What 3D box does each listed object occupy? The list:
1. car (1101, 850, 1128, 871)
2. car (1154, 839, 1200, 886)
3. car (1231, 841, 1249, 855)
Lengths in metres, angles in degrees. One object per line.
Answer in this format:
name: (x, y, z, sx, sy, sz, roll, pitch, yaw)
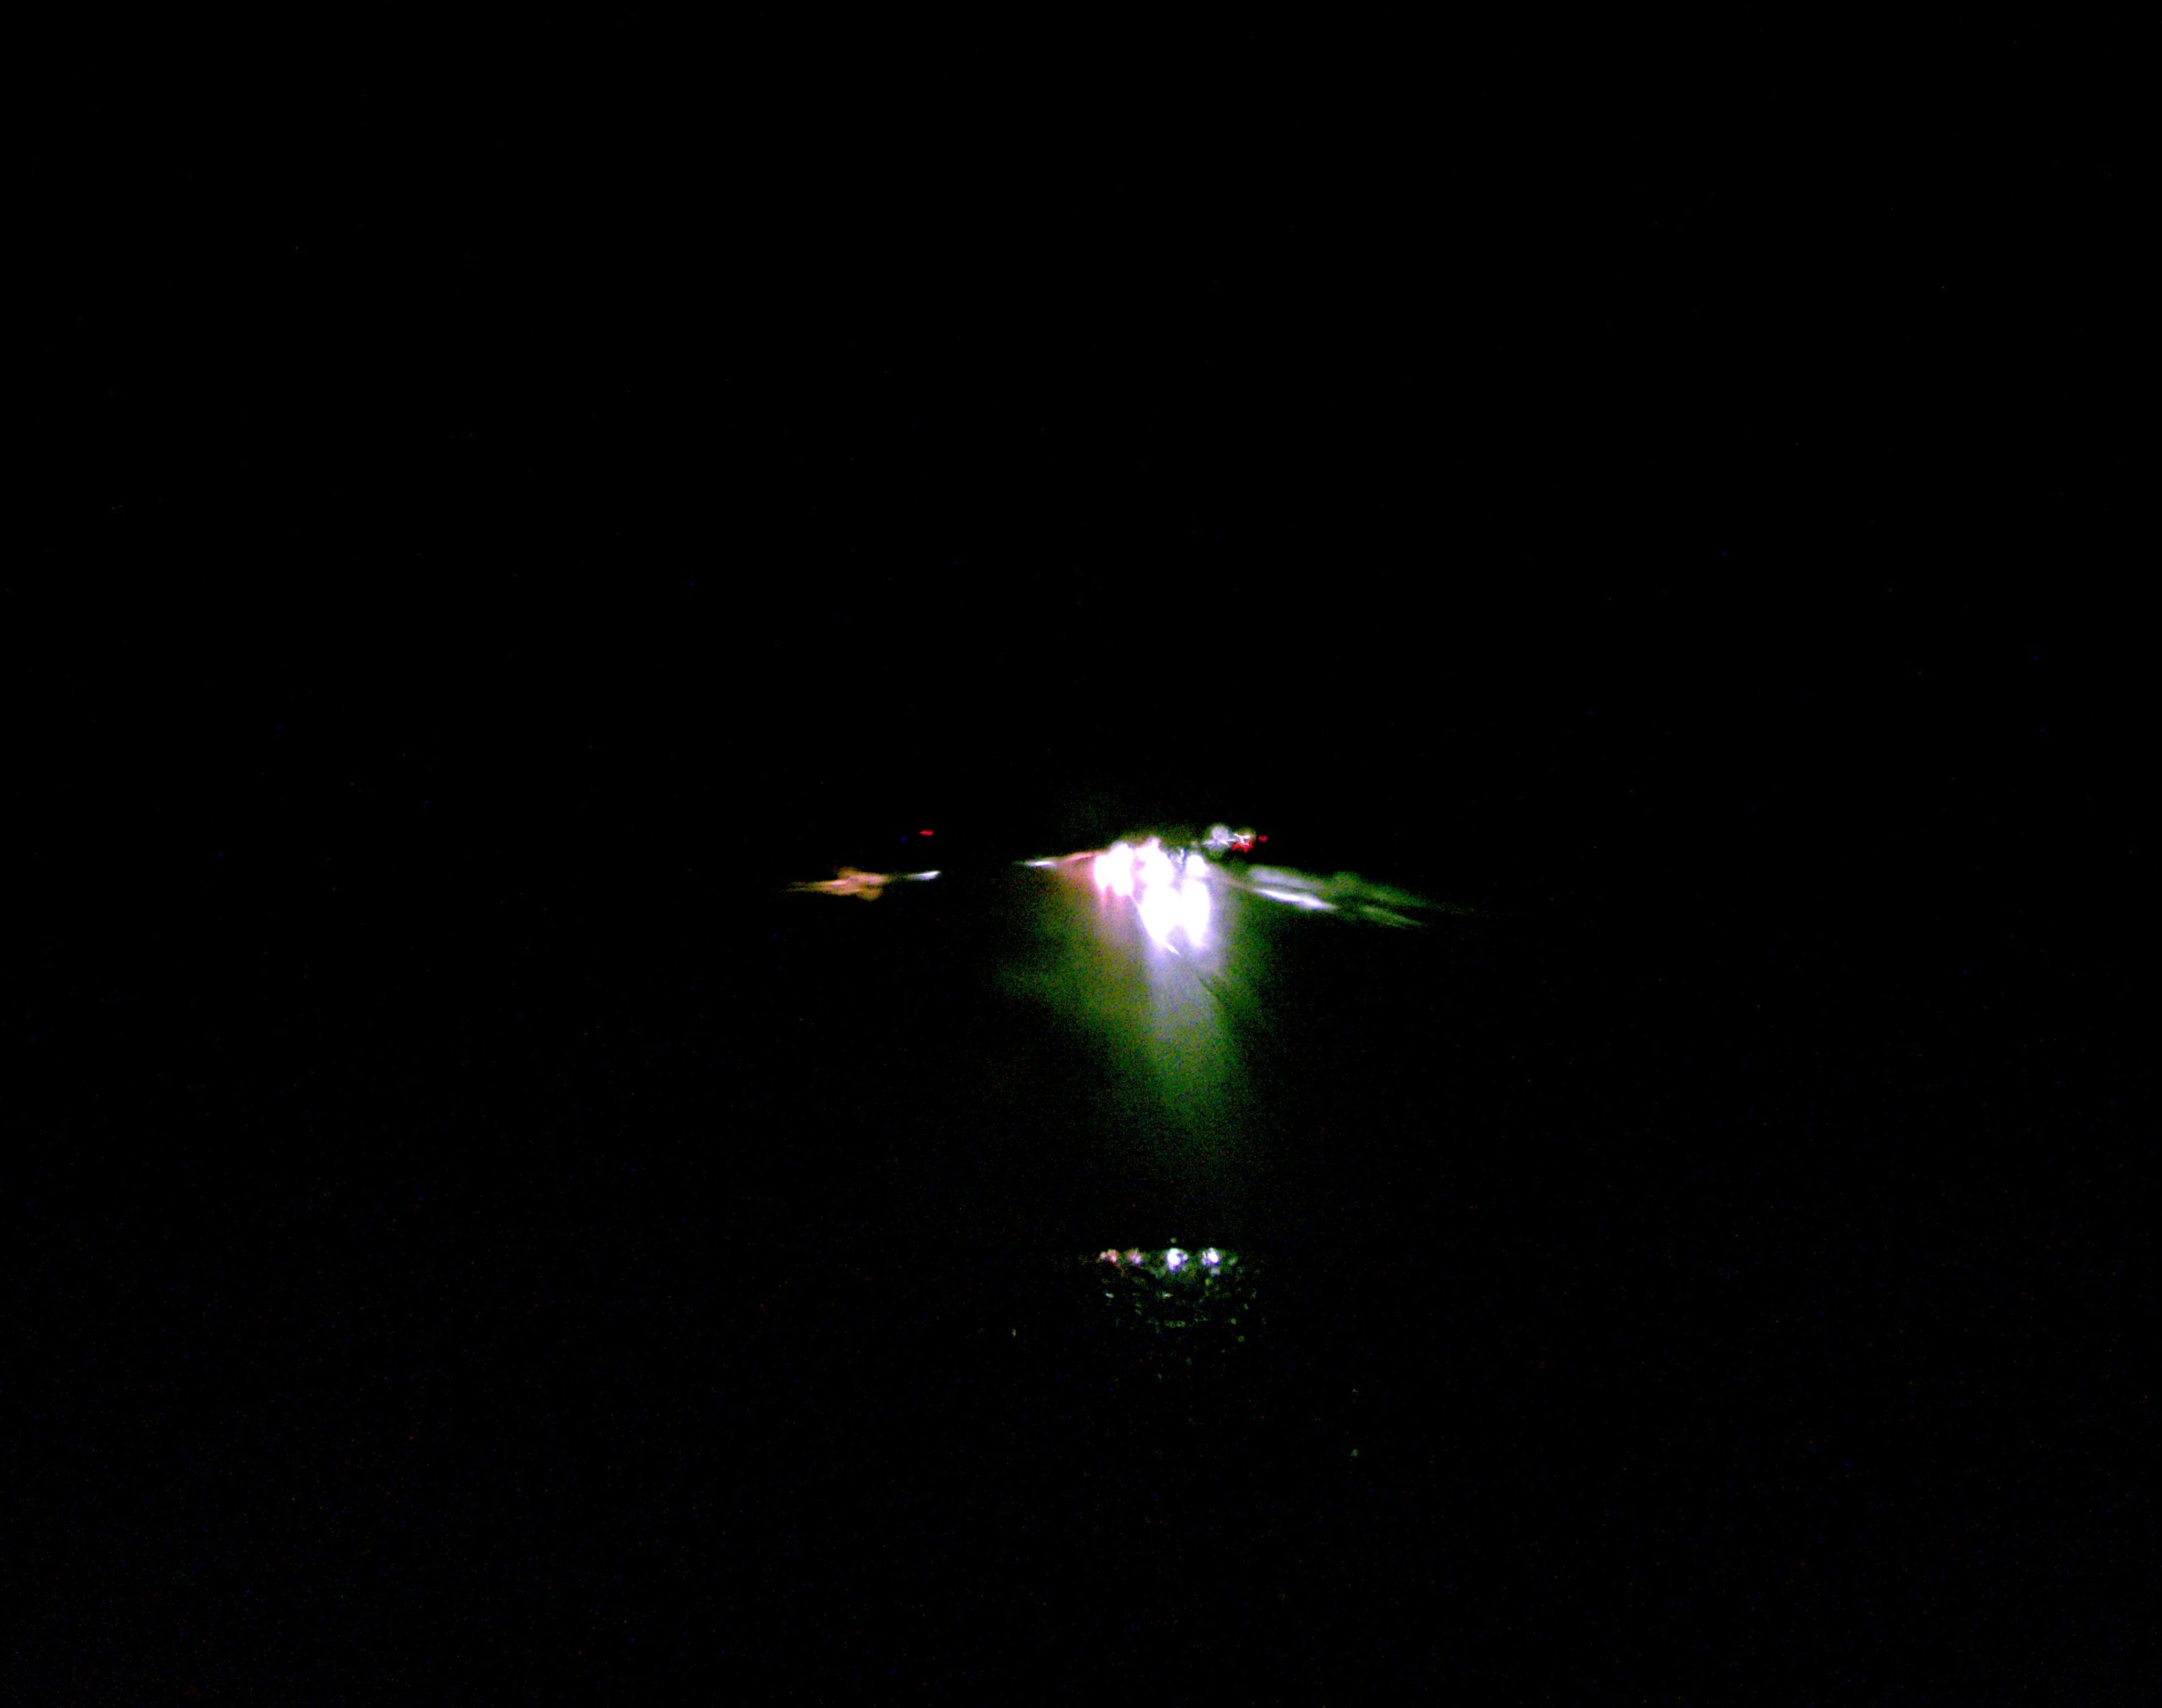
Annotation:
car: (2.867, 0.536, 63.961, 1.804, 1.608, 4.258, -2, 1, 7)
car: (4.629, 0.414, 37.205, 1.998, 2.001, 4.002, -4, -1, 5)
car: (24.359, -0.870, 116.621, 1.998, 1.842, 4.002, -6, -1, 4)
